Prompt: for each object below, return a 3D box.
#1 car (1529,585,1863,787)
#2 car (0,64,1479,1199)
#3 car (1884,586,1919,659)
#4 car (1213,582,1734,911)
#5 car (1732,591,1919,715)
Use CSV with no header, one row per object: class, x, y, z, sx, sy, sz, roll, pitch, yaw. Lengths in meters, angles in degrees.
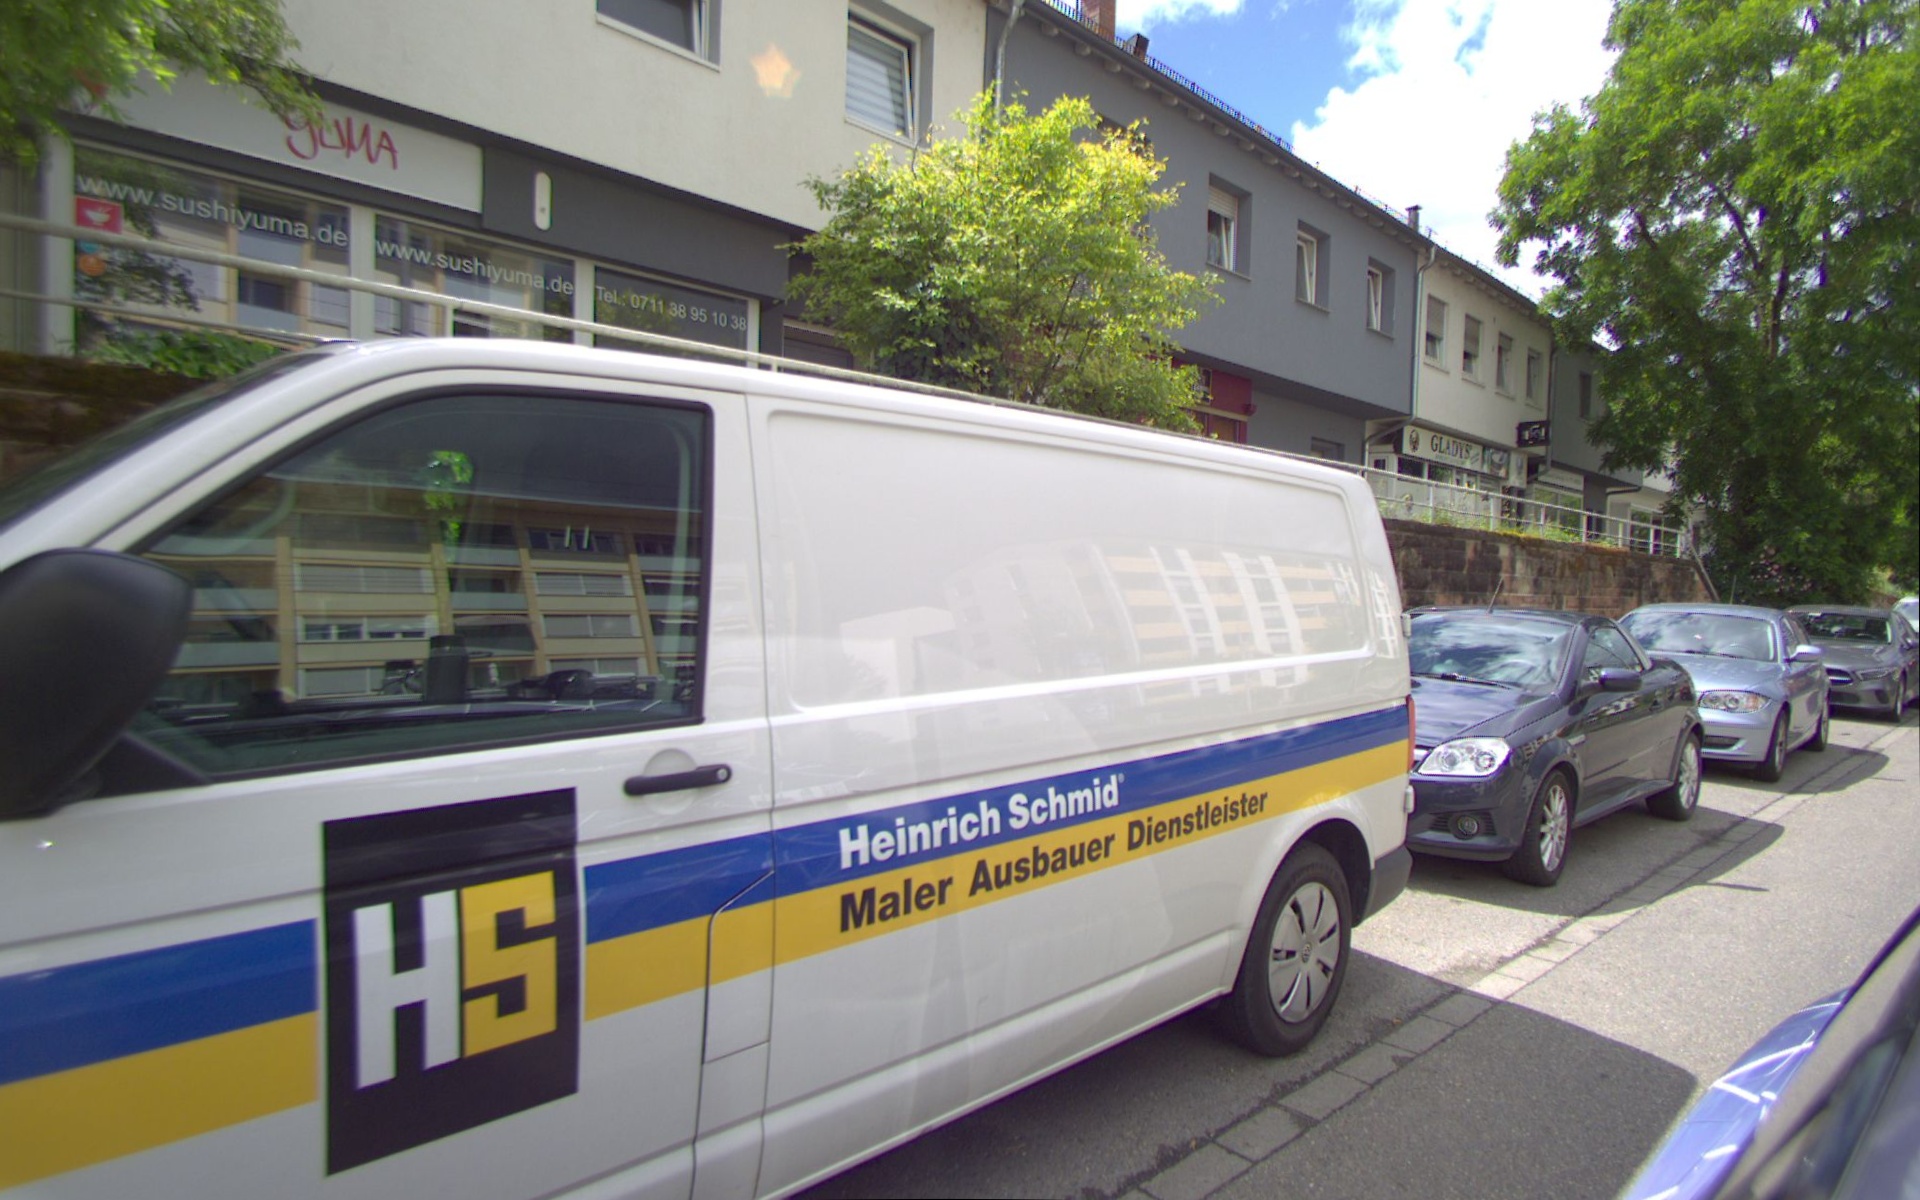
car,7.256,0.652,9.821,4.075,1.445,1.783,0,4,-43
car,-0.660,0.362,2.828,4.924,1.994,1.977,0,2,-40
car,23.813,0.543,24.330,4.074,1.674,1.818,0,2,-40
car,3.356,0.654,6.331,3.668,1.446,1.577,0,2,-40
car,12.523,0.638,14.226,4.073,1.446,1.784,0,2,-40
